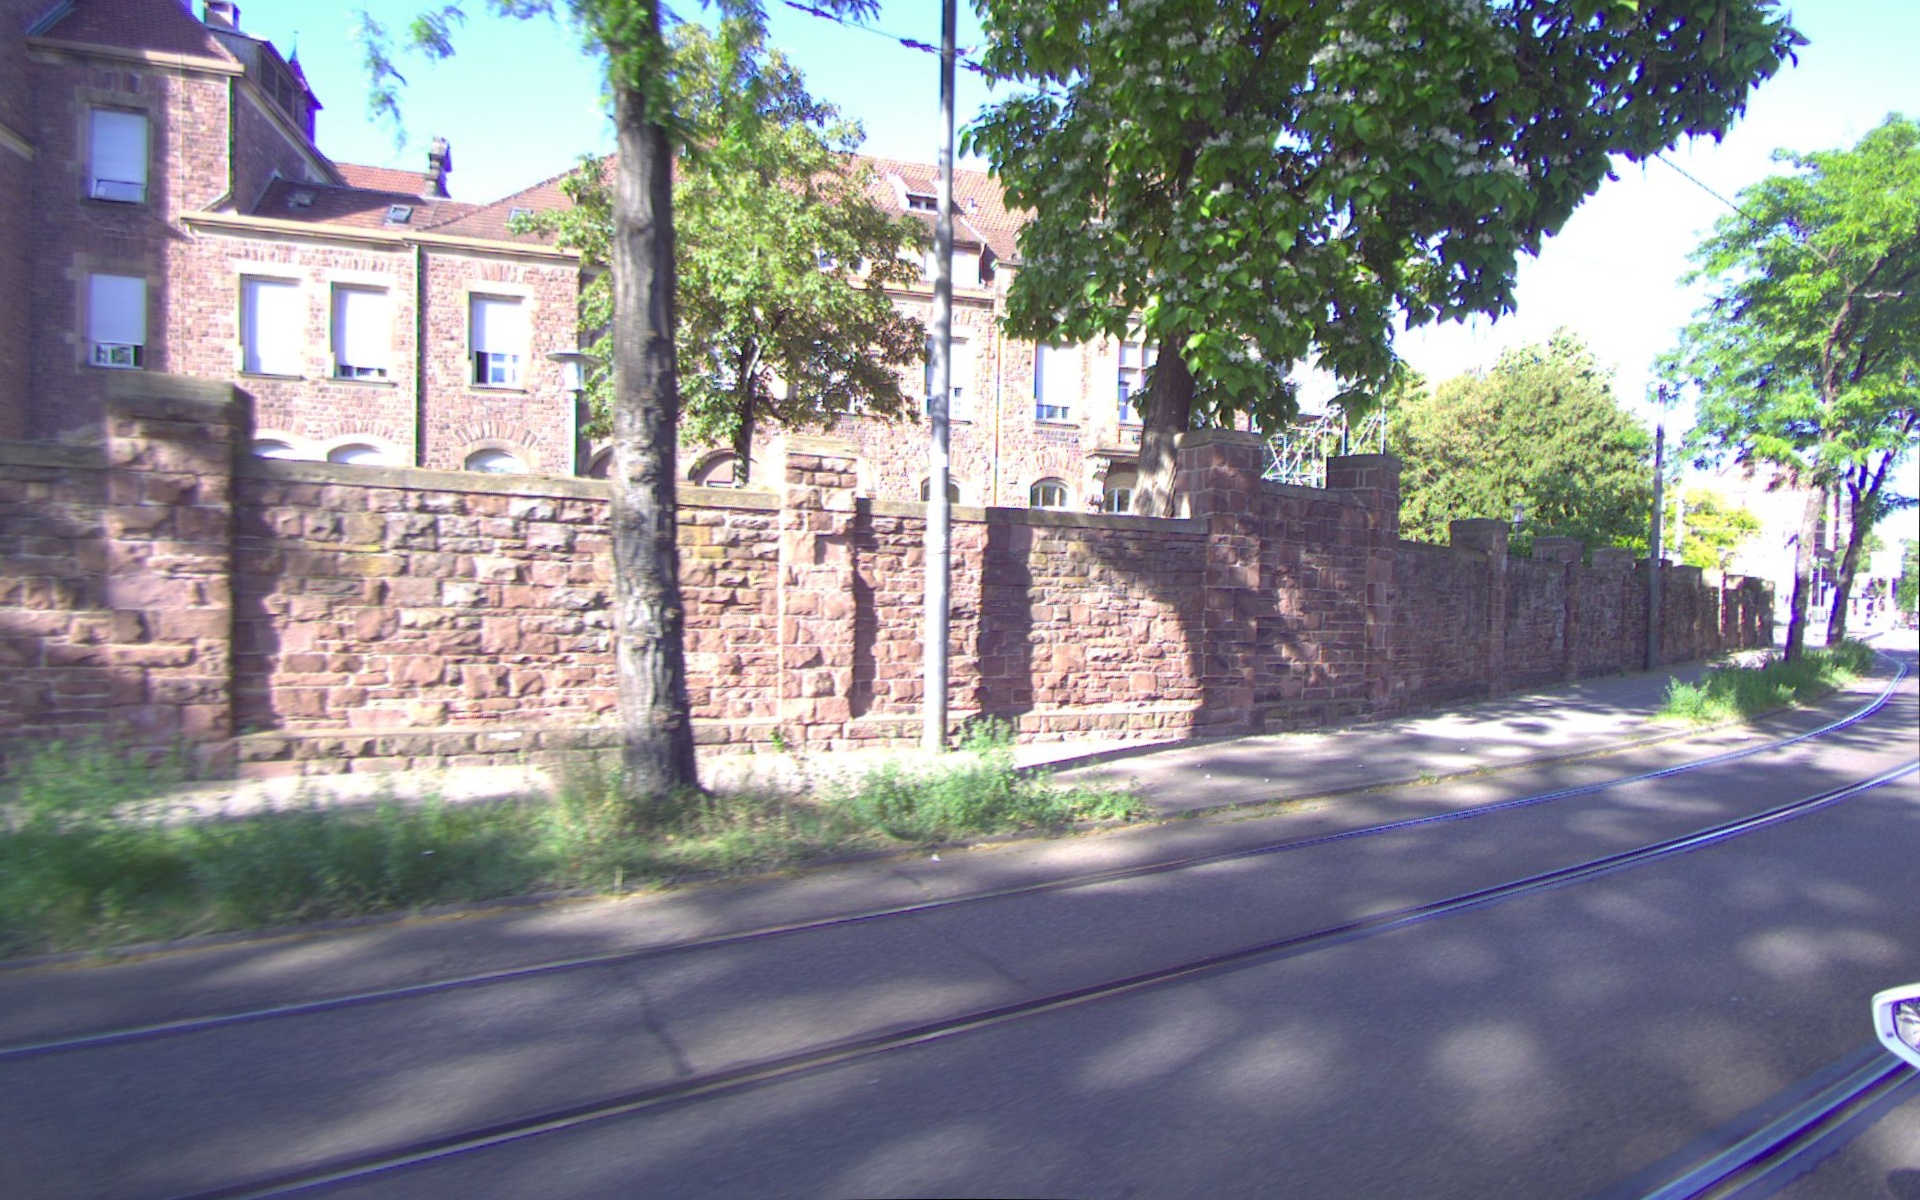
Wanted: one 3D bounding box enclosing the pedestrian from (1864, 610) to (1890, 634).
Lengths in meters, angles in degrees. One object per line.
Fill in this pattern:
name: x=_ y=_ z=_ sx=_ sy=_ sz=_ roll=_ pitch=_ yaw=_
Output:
pedestrian: x=79.050 y=1.883 z=86.610 sx=1.099 sy=2.040 sz=1.158 roll=1 pitch=0 yaw=-8
